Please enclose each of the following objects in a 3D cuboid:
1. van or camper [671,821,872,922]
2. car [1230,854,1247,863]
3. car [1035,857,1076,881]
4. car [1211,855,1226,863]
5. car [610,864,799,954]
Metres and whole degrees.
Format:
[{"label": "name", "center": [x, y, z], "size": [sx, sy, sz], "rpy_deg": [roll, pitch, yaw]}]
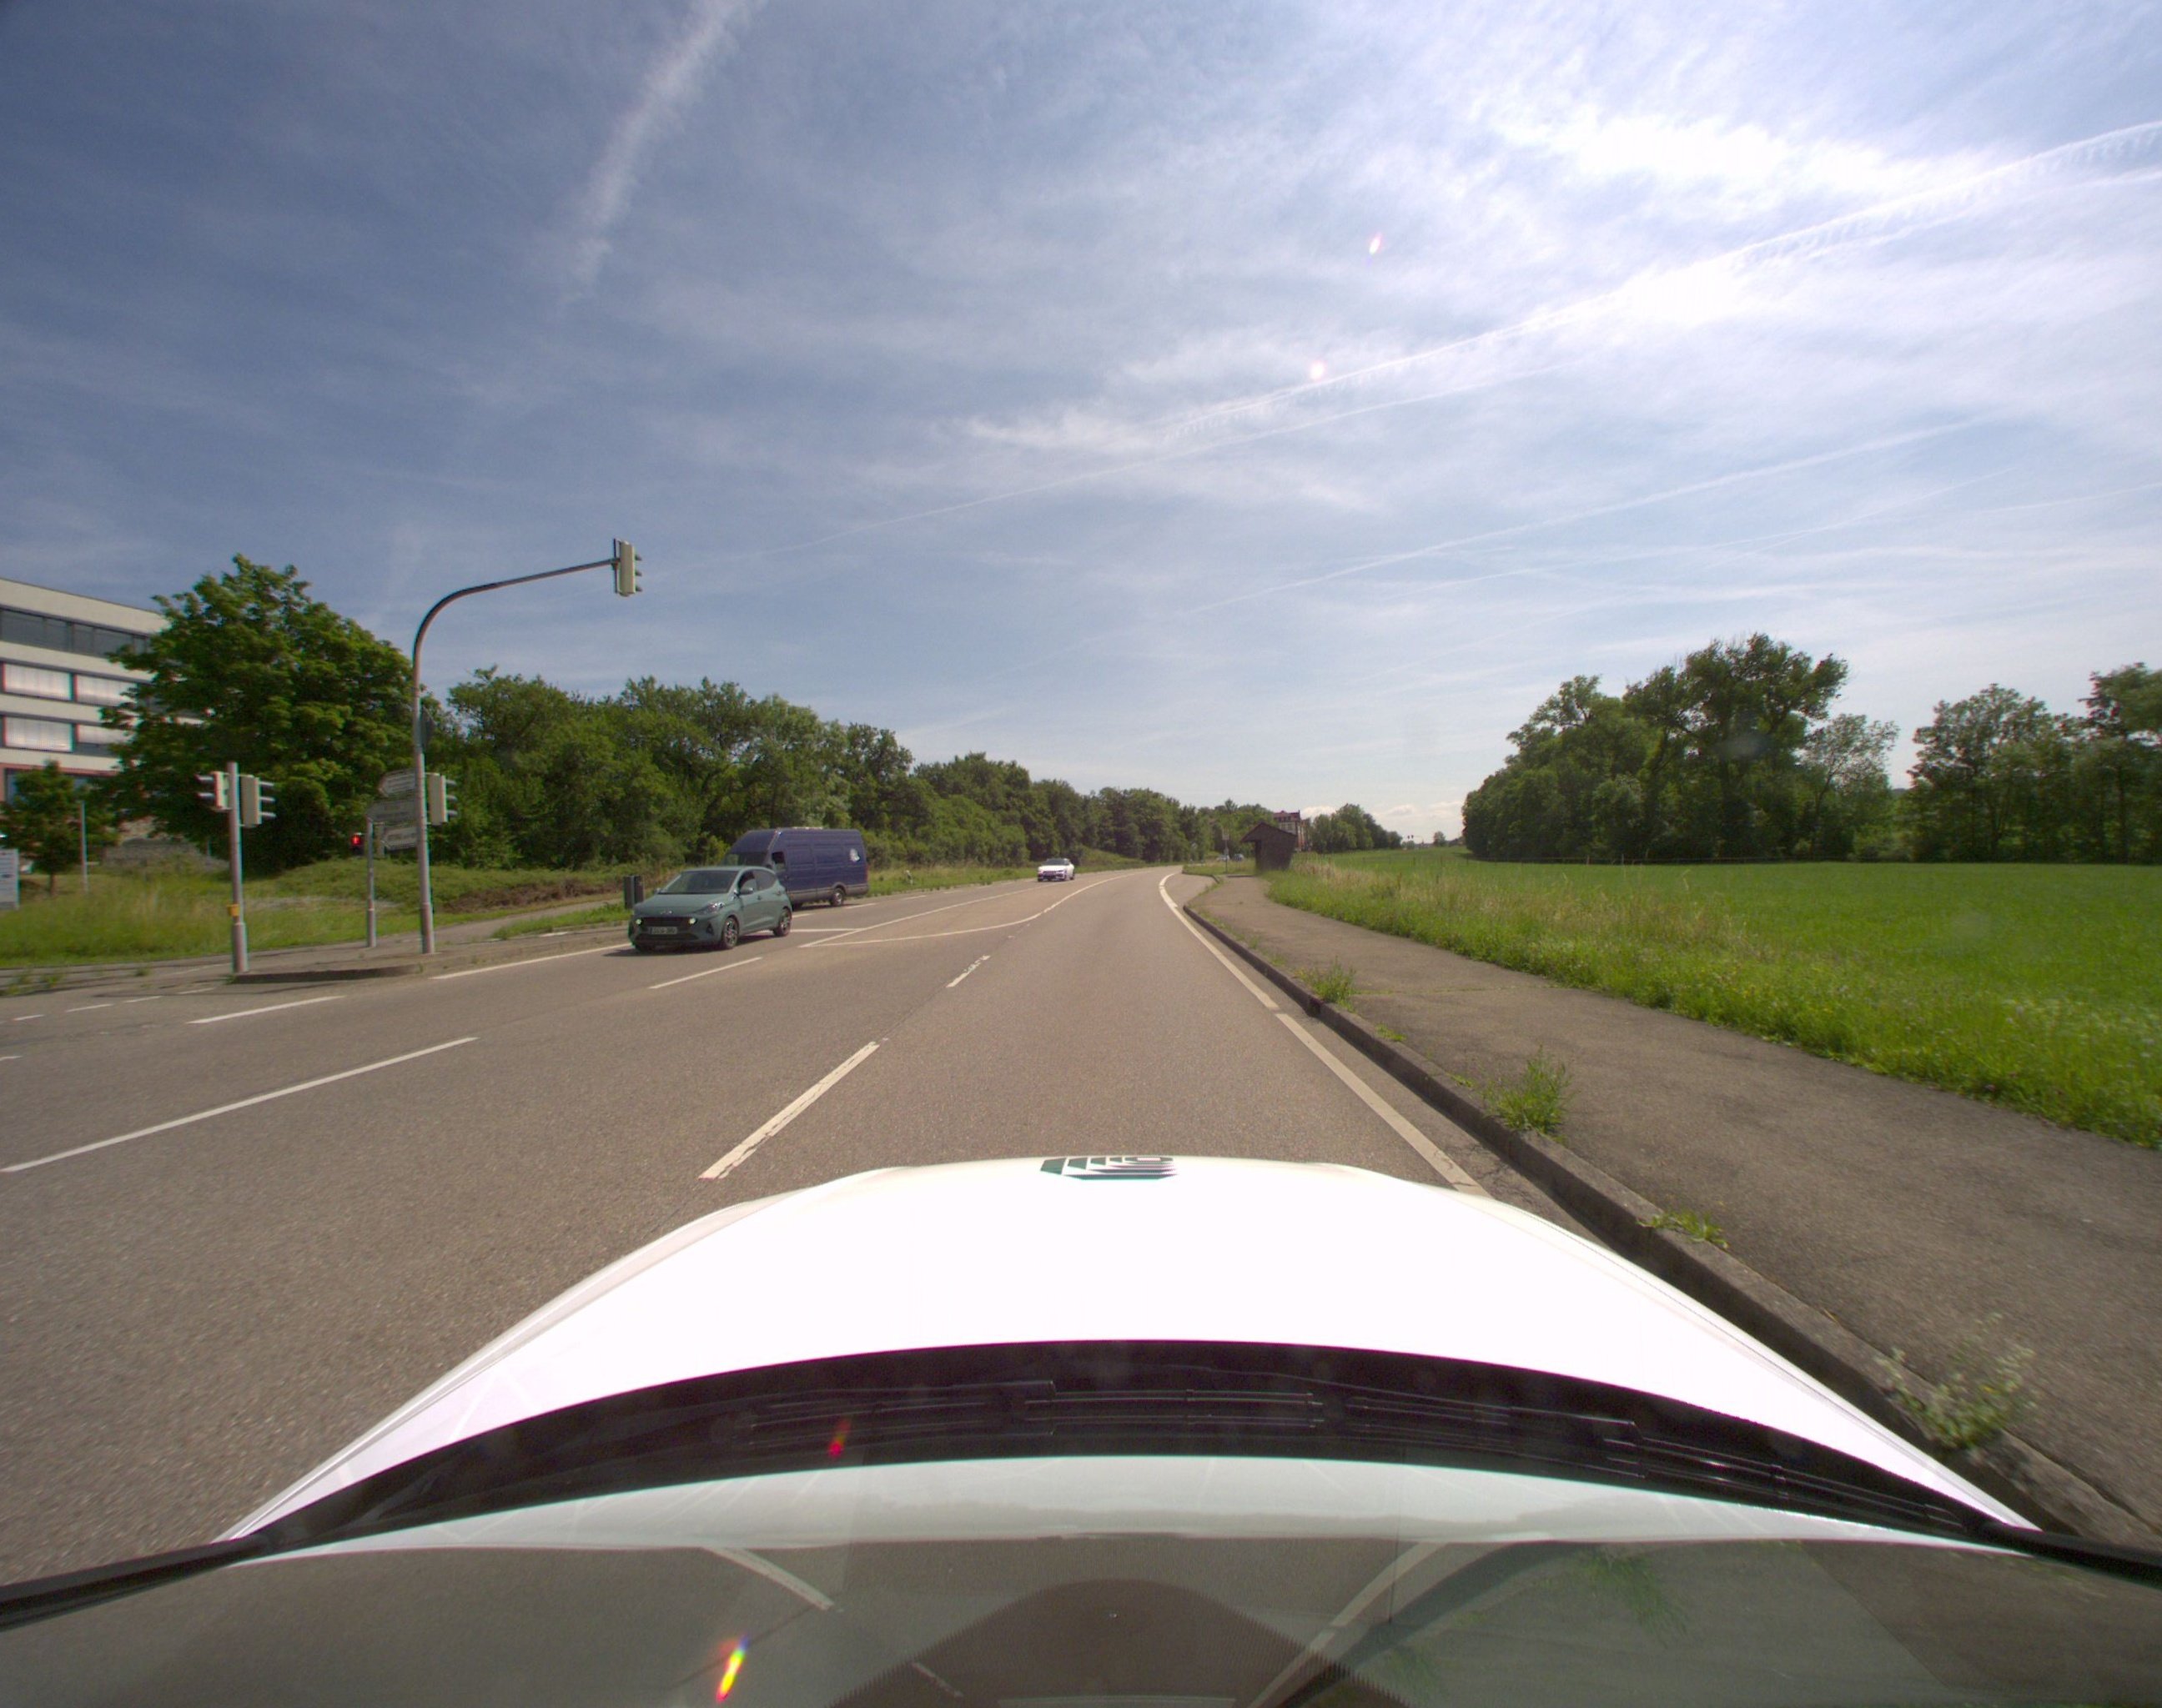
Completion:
[{"label": "van or camper", "center": [-10.065, 0.456, 27.513], "size": [2.222, 2.914, 7.280], "rpy_deg": [-2, 1, 17]}, {"label": "car", "center": [28.759, 0.844, 148.448], "size": [1.975, 1.574, 4.023], "rpy_deg": [-2, -1, 25]}, {"label": "car", "center": [-1.673, 0.992, 55.788], "size": [1.926, 1.548, 4.639], "rpy_deg": [-1, -1, 9]}, {"label": "car", "center": [25.408, 0.945, 150.688], "size": [1.739, 1.534, 4.252], "rpy_deg": [-2, -1, 24]}, {"label": "car", "center": [-7.018, 0.950, 15.658], "size": [1.700, 1.483, 3.834], "rpy_deg": [-1, -1, 2]}]
